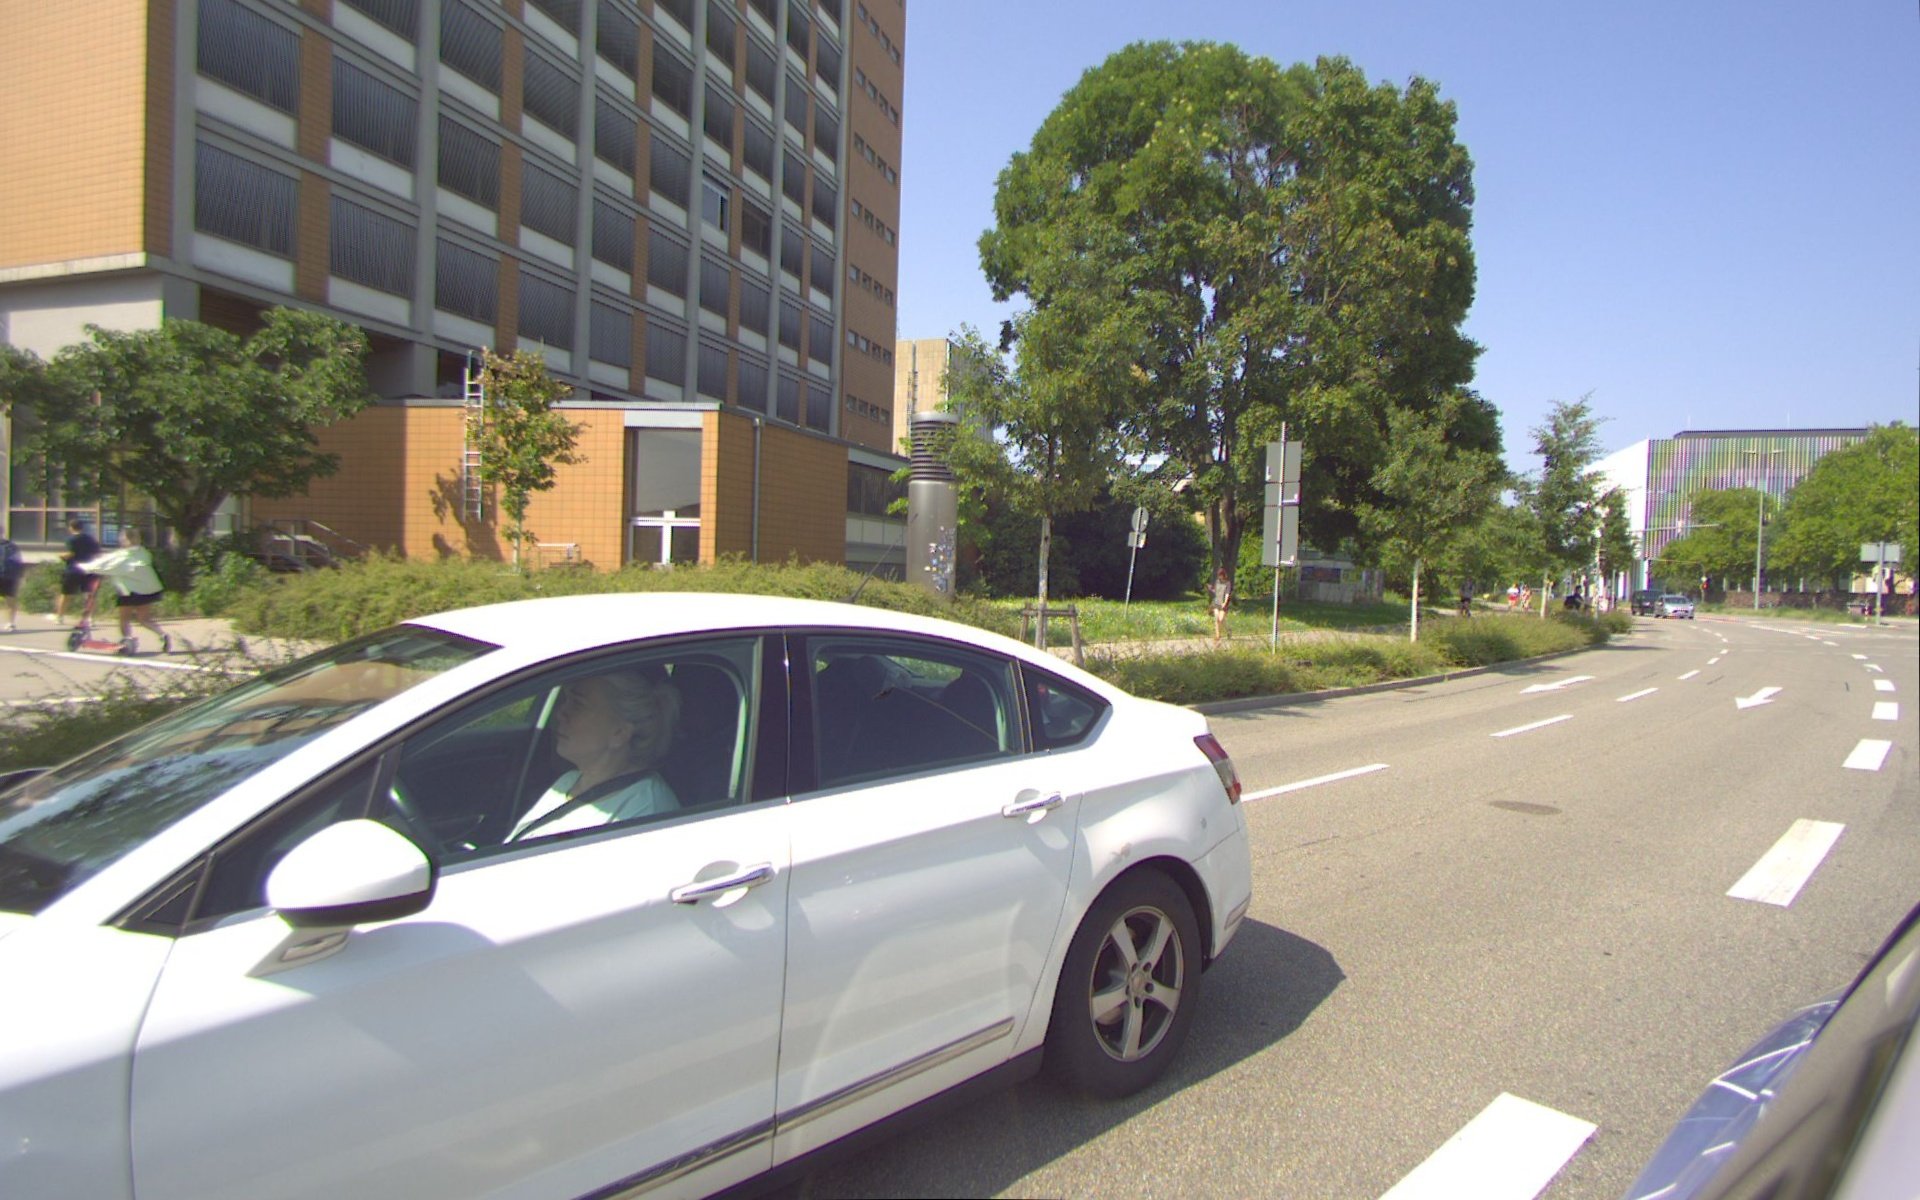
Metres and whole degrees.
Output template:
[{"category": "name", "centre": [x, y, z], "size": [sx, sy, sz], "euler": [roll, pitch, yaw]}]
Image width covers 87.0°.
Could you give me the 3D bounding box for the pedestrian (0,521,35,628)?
[{"category": "pedestrian", "centre": [-15.566, -0.426, 16.386], "size": [0.830, 1.695, 0.671], "euler": [2, 2, 31]}]

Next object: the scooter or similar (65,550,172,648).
[{"category": "scooter or similar", "centre": [-11.556, -0.018, 13.902], "size": [1.163, 1.295, 0.647], "euler": [0, 0, 21]}]

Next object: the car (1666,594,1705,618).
[{"category": "car", "centre": [48.503, 0.356, 67.745], "size": [1.645, 1.550, 4.486], "euler": [0, 0, 29]}]

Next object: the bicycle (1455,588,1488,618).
[{"category": "bicycle", "centre": [17.891, 0.099, 35.390], "size": [1.751, 0.992, 0.357], "euler": [0, 2, -41]}]

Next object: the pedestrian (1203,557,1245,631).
[{"category": "pedestrian", "centre": [6.306, -0.155, 24.154], "size": [0.669, 1.720, 0.795], "euler": [2, 1, 38]}]

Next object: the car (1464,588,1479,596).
[{"category": "car", "centre": [106.979, -1.717, 211.659], "size": [1.848, 1.549, 4.510], "euler": [2, 2, 16]}]

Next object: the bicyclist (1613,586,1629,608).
[{"category": "bicyclist", "centre": [44.087, -0.188, 67.487], "size": [0.672, 1.417, 1.041], "euler": [2, 1, 24]}]

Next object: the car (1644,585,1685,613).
[{"category": "car", "centre": [52.028, -0.084, 74.808], "size": [1.874, 1.943, 4.490], "euler": [1, 1, 27]}]

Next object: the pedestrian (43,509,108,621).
[{"category": "pedestrian", "centre": [-15.394, -0.619, 17.616], "size": [0.830, 1.894, 0.622], "euler": [2, 2, 31]}]

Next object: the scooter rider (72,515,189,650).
[{"category": "scooter rider", "centre": [-11.395, -0.232, 13.916], "size": [1.027, 1.780, 0.855], "euler": [0, 0, 20]}]

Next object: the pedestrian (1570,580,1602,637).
[{"category": "pedestrian", "centre": [21.513, 0.277, 34.777], "size": [0.818, 1.926, 0.622], "euler": [2, 1, 36]}]

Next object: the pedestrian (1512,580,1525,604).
[{"category": "pedestrian", "centre": [30.674, -0.423, 55.584], "size": [0.628, 1.315, 0.483], "euler": [0, 0, 26]}]

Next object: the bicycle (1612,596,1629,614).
[{"category": "bicycle", "centre": [44.017, 0.330, 67.437], "size": [0.588, 1.183, 2.217], "euler": [2, 1, 24]}]

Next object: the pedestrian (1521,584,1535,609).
[{"category": "pedestrian", "centre": [31.084, -0.192, 55.414], "size": [0.611, 1.315, 0.434], "euler": [0, 0, 25]}]

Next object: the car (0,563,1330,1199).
[{"category": "car", "centre": [-1.050, 0.661, 2.696], "size": [4.527, 1.446, 1.773], "euler": [0, 2, -40]}]

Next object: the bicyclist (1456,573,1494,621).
[{"category": "bicyclist", "centre": [18.041, -0.109, 35.475], "size": [0.909, 1.625, 0.903], "euler": [0, 1, -43]}]
